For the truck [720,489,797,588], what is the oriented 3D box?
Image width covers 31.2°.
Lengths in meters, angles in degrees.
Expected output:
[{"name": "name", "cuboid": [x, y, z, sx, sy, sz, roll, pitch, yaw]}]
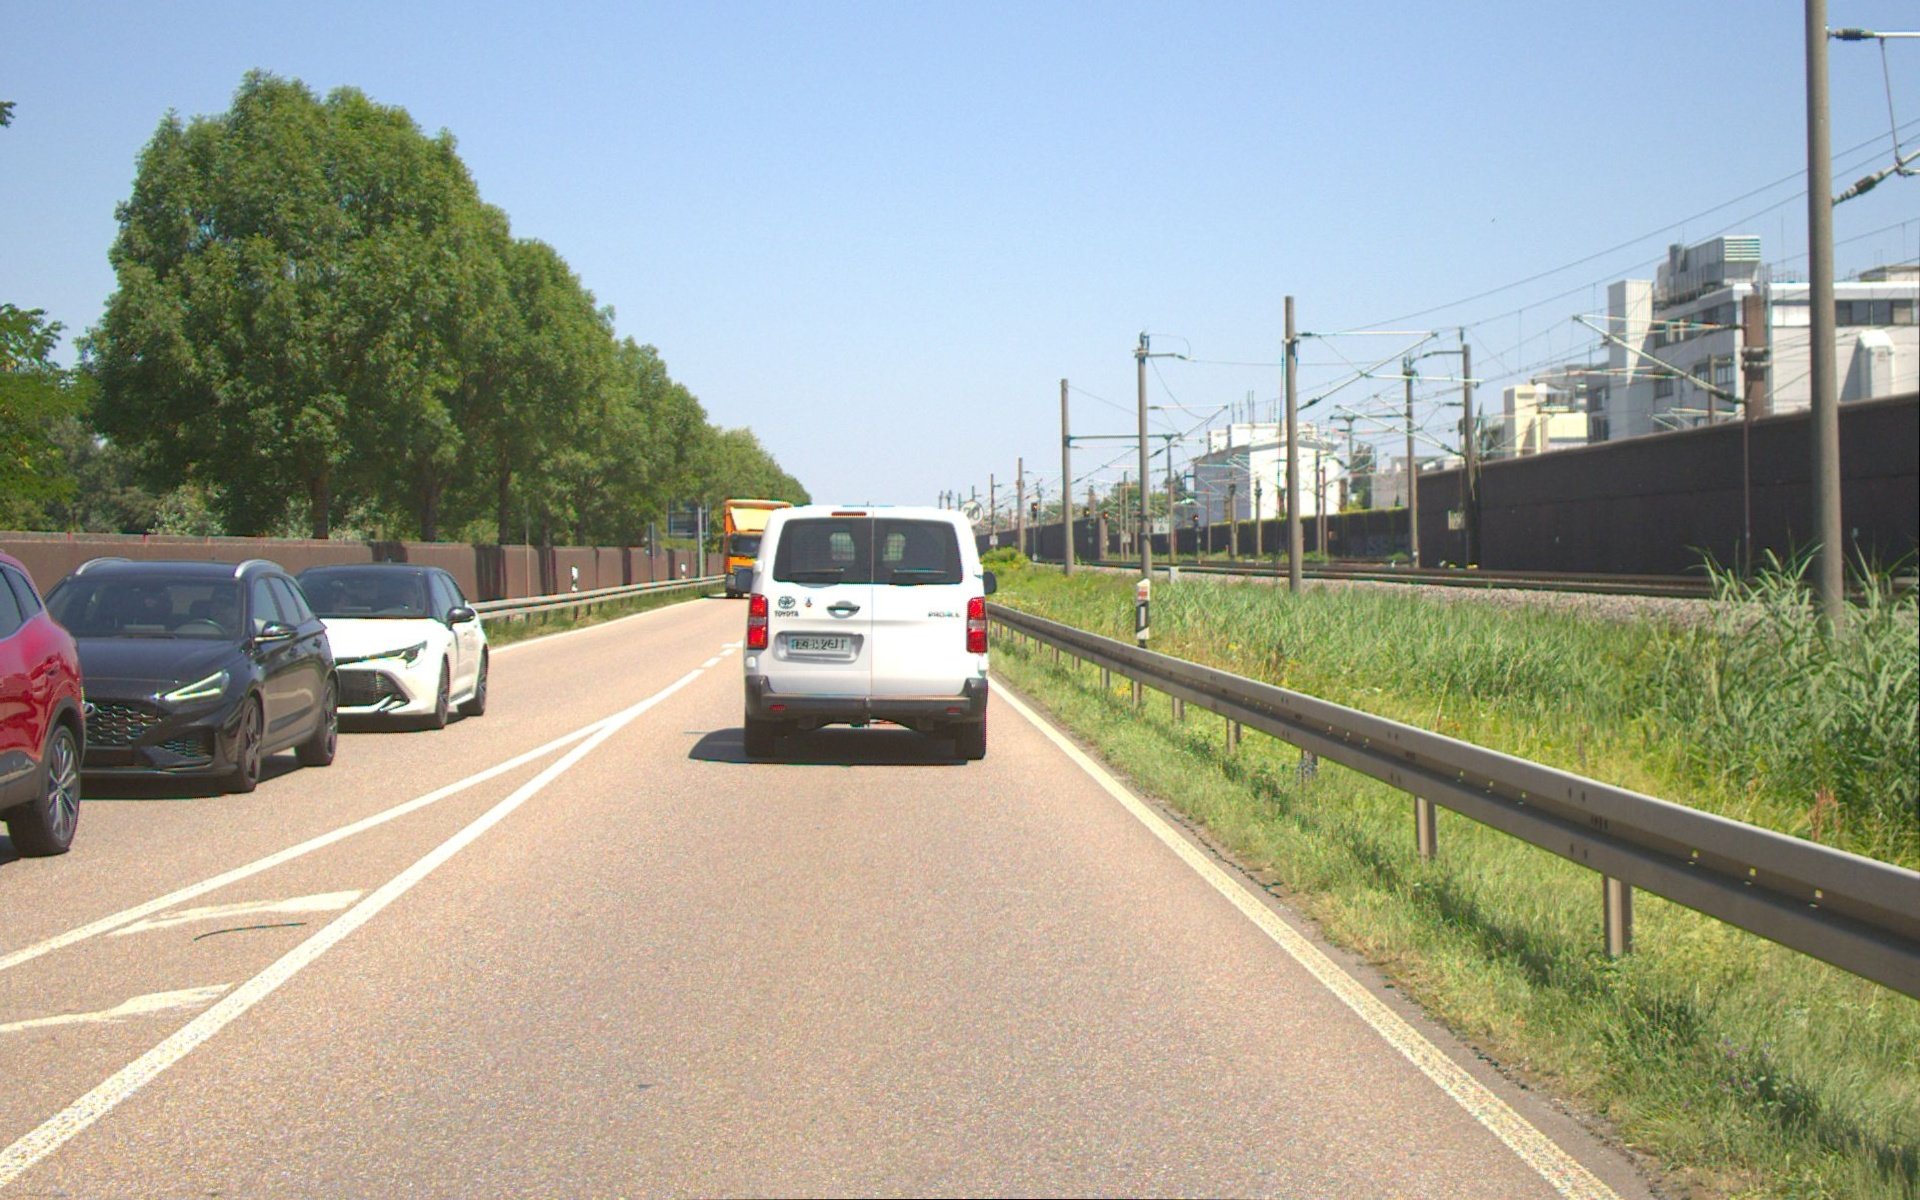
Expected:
[{"name": "truck", "cuboid": [-8.030, -2.452, 138.063, 2.792, 3.827, 9.325, 0, 1, -2]}]

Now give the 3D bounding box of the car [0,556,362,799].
[{"name": "car", "cuboid": [-5.293, 0.442, 23.265, 1.685, 1.455, 4.616, 1, 1, 0]}]

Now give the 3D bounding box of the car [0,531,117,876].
[{"name": "car", "cuboid": [-5.395, 0.484, 16.055, 1.755, 1.626, 4.279, 0, 1, 2]}]

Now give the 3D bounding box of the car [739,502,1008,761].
[{"name": "car", "cuboid": [-0.698, 0.210, 27.390, 1.945, 1.875, 4.881, 0, 0, -2]}]

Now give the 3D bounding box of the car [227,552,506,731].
[{"name": "car", "cuboid": [-5.234, 0.315, 30.884, 1.685, 1.455, 4.616, 1, 1, 0]}]
